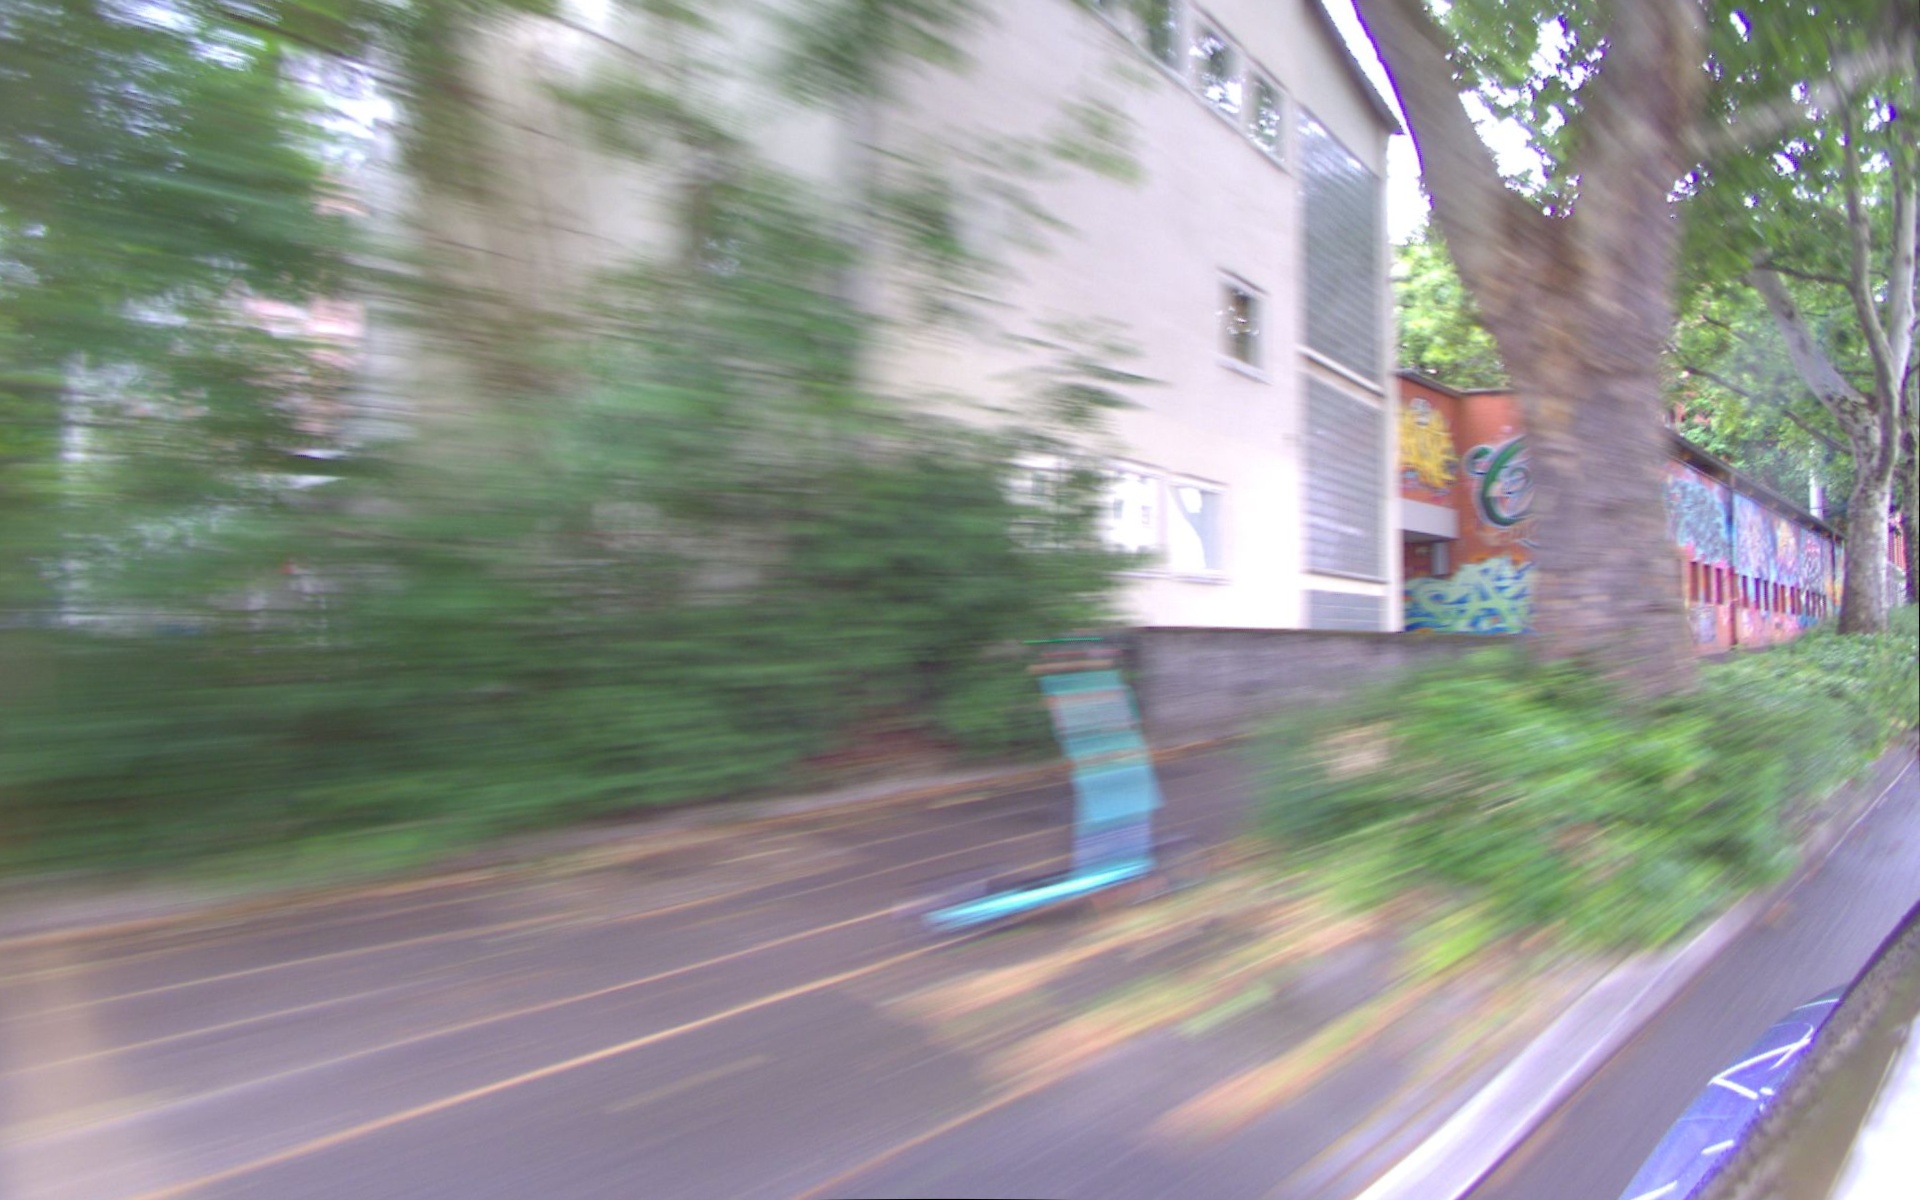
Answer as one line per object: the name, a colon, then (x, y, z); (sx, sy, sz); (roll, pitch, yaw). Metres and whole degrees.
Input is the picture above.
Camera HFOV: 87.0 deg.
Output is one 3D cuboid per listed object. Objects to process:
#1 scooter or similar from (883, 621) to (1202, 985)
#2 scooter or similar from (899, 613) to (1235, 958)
scooter or similar: (0.347, 0.717, 3.995); (1.217, 1.215, 0.373); (-2, 0, -29)
scooter or similar: (0.462, 0.711, 4.254); (1.342, 1.249, 0.375); (-2, 1, -20)
